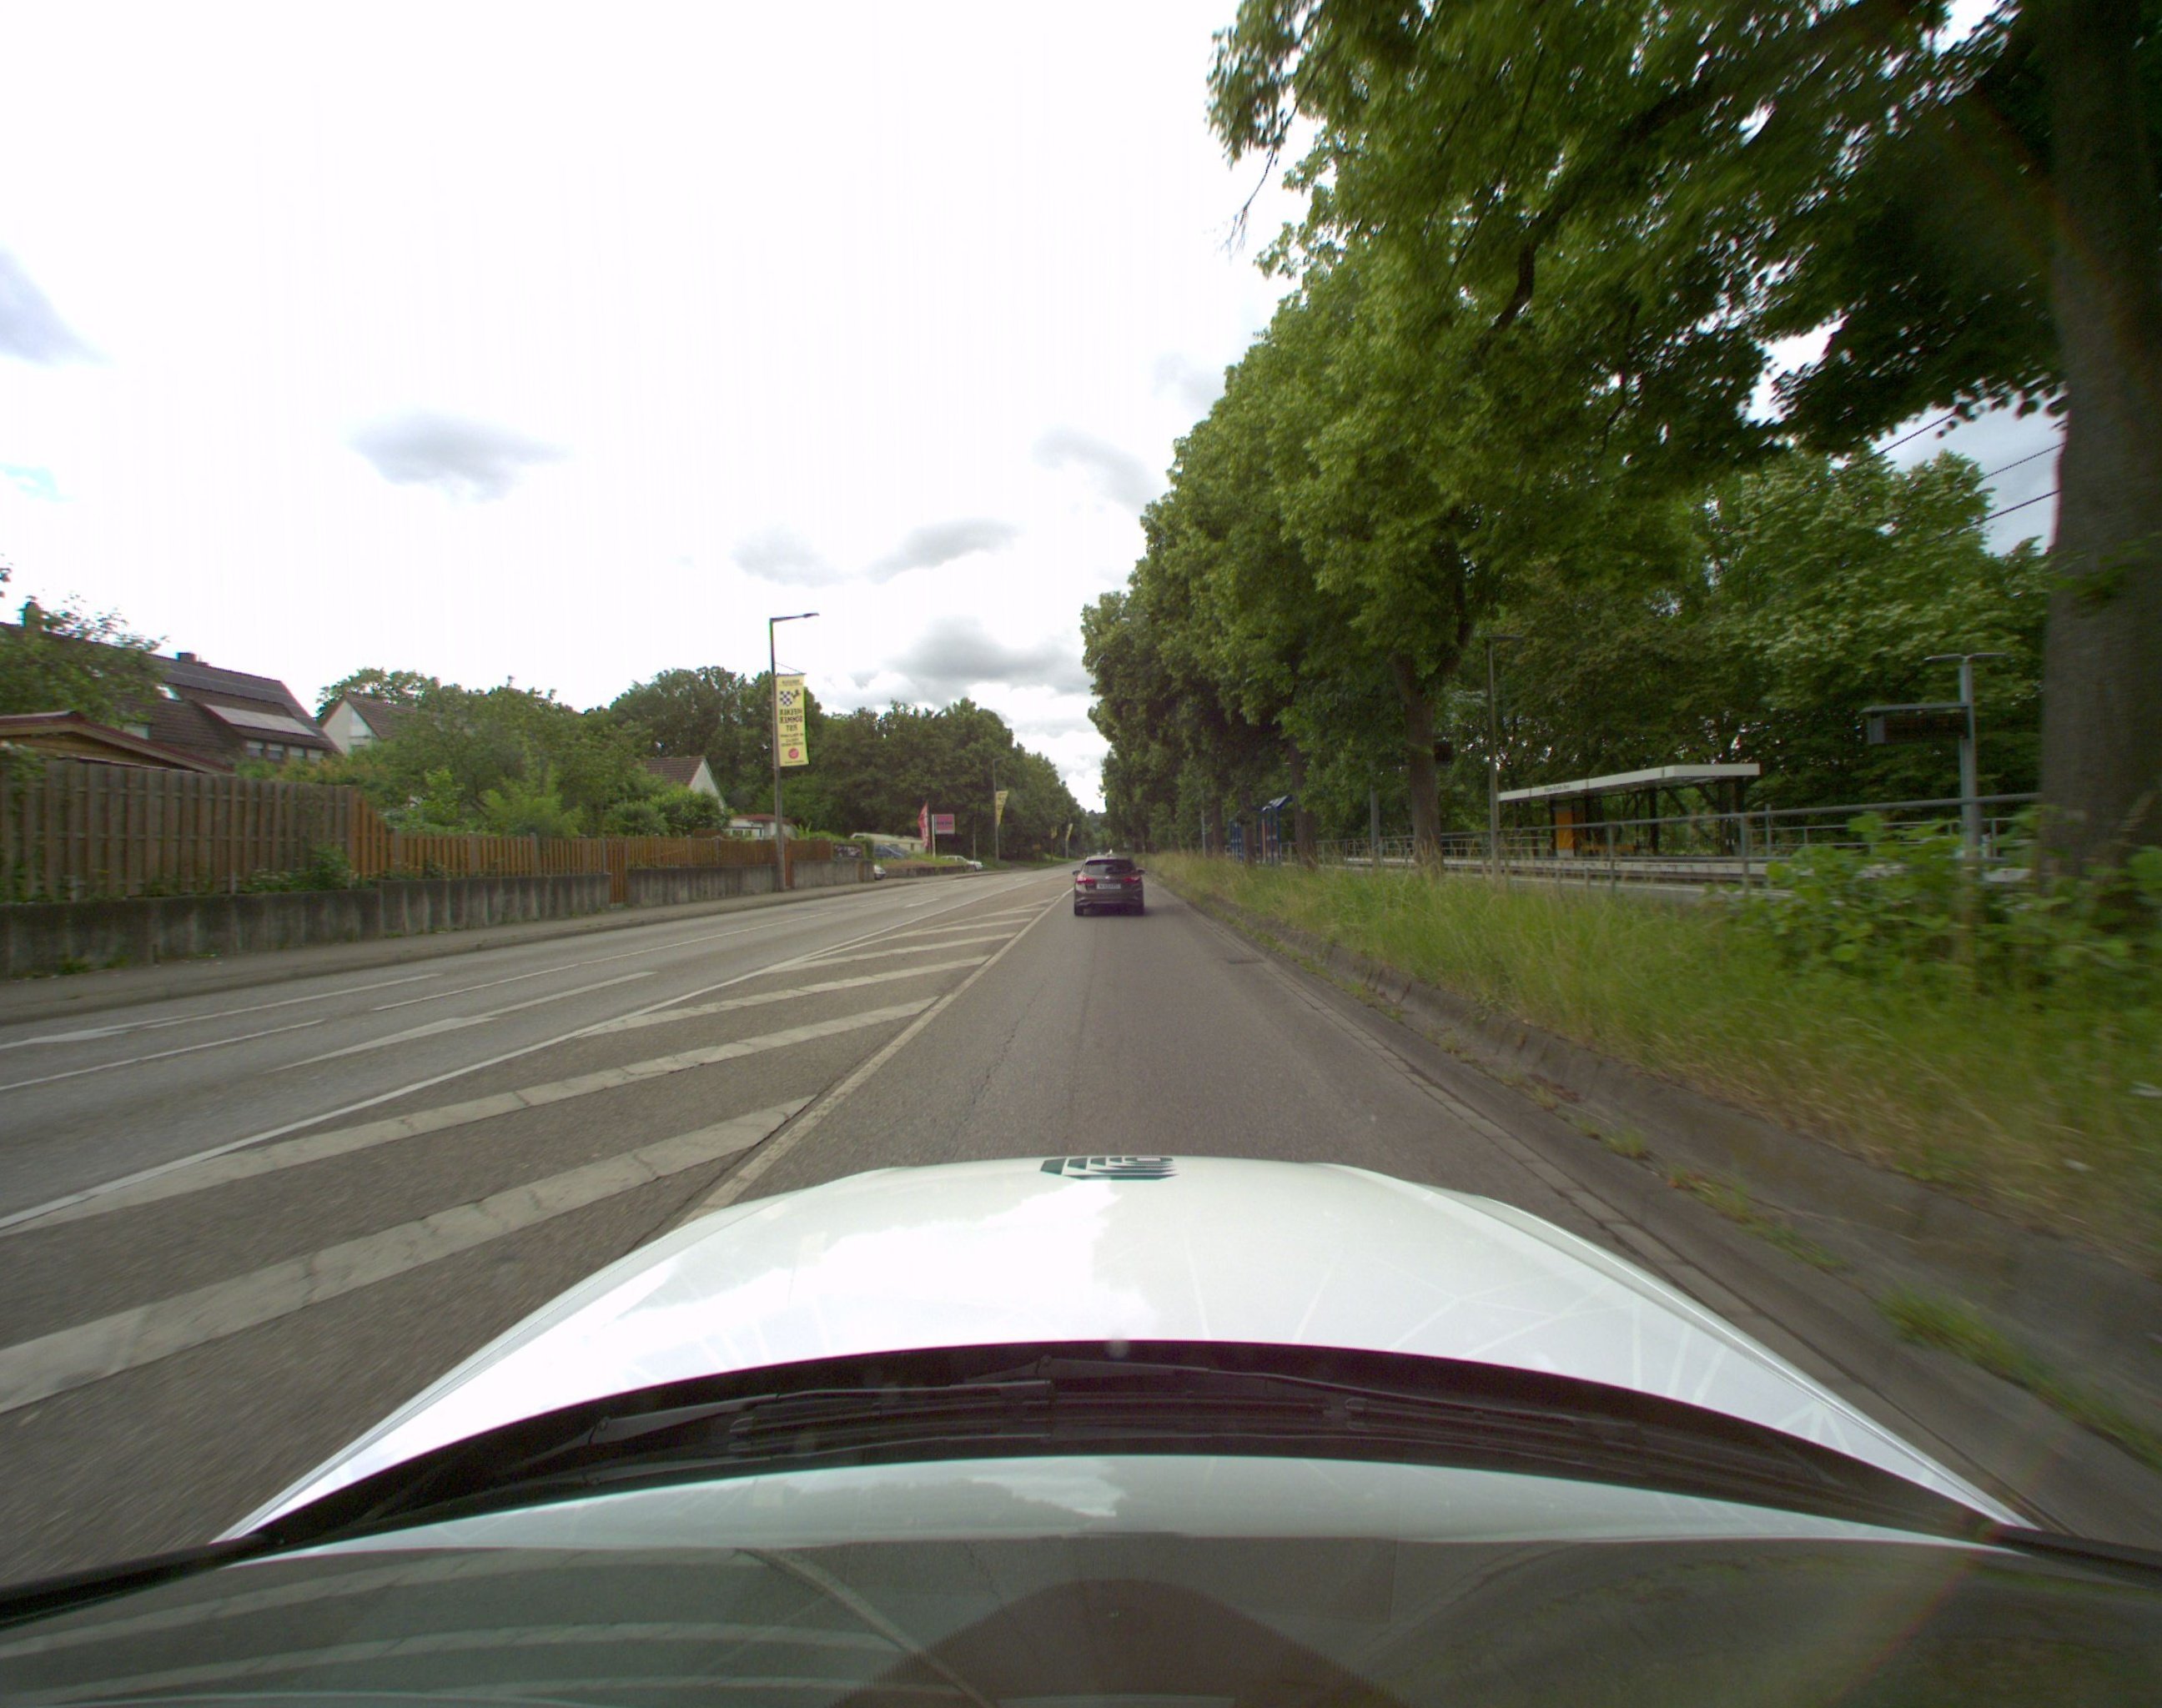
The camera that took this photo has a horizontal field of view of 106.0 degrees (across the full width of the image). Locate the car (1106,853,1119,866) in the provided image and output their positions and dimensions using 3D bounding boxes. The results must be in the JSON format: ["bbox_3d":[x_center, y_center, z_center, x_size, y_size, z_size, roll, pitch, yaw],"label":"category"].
[{"bbox_3d":[3.933,0.679,100.337,1.496,1.481,3.675,0,0,4],"label":"car"}]

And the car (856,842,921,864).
[{"bbox_3d":[-13.370,-0.091,56.716,3.966,1.497,1.862,0,-1,6],"label":"car"}]

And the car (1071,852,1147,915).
[{"bbox_3d":[0.810,0.732,21.836,1.829,1.528,3.933,-1,0,4],"label":"car"}]

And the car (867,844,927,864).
[{"bbox_3d":[-13.641,0.019,60.553,3.966,1.492,1.650,0,-1,6],"label":"car"}]

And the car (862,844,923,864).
[{"bbox_3d":[-13.524,-0.017,58.590,3.966,1.411,1.536,0,-1,6],"label":"car"}]

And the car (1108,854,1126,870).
[{"bbox_3d":[3.391,0.735,76.236,1.496,1.528,3.675,0,0,4],"label":"car"}]

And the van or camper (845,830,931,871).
[{"bbox_3d":[-18.152,-0.352,76.847,7.114,3.371,2.798,4,0,2],"label":"van or camper"}]

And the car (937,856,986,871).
[{"bbox_3d":[-11.256,0.897,76.867,4.361,1.441,1.961,0,0,-1],"label":"car"}]

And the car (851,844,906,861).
[{"bbox_3d":[-16.897,-0.141,67.992,3.966,1.370,2.004,0,-1,6],"label":"car"}]

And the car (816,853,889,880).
[{"bbox_3d":[-14.255,0.768,50.978,3.970,1.617,2.001,0,-1,3],"label":"car"}]
